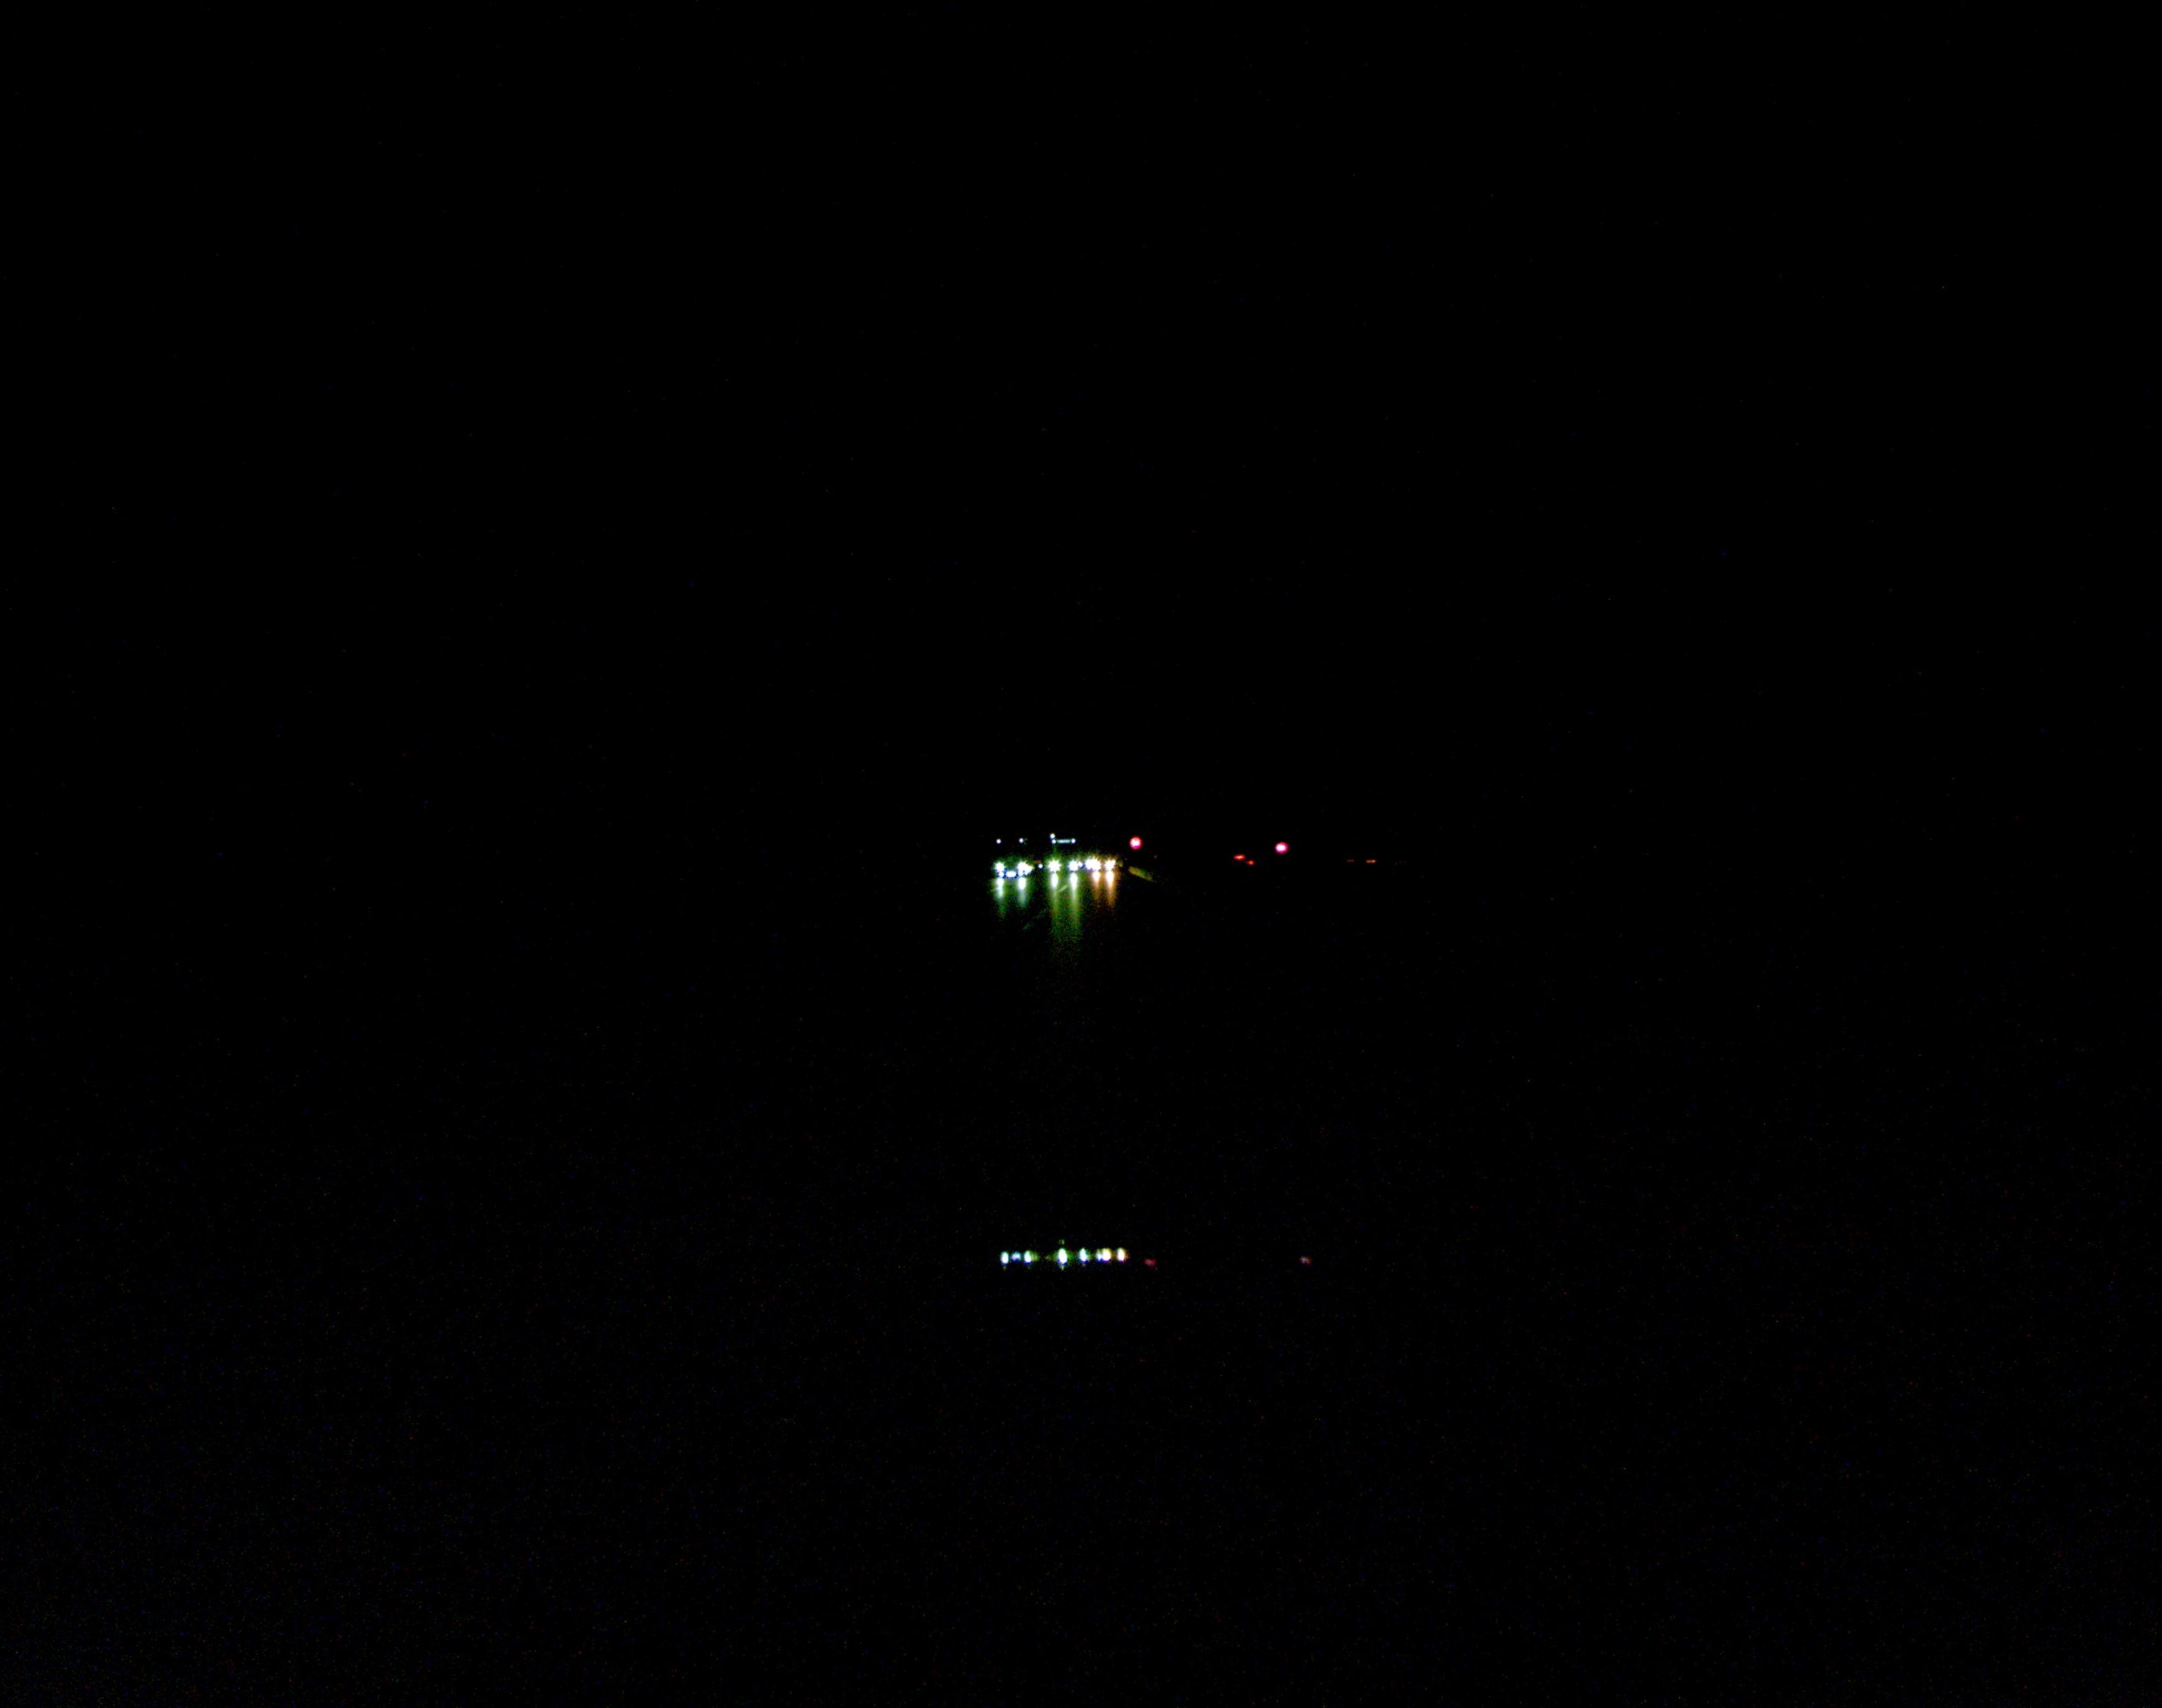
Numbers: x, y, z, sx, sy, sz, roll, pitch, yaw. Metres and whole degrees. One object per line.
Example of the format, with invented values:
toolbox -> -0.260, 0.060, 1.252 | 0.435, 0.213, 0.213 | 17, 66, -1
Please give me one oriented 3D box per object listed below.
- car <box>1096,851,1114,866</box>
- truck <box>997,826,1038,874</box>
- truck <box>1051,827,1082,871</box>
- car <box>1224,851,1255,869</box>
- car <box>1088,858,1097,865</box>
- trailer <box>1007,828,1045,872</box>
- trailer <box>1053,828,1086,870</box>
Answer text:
car -> 2.593, 0.439, 80.968 | 1.825, 1.457, 4.248 | -2, 0, 2
truck -> -5.693, -0.339, 69.122 | 2.597, 4.048, 7.674 | -2, 0, 2
truck -> -1.411, -0.485, 78.283 | 2.668, 4.181, 6.724 | -2, 0, 2
car -> 13.810, 0.536, 66.413 | 1.754, 1.470, 4.752 | 1, 0, 1
car -> 3.136, 1.982, 200.860 | 2.266, 1.841, 5.404 | -2, 0, 2
trailer -> -5.416, -0.316, 76.675 | 2.597, 4.048, 10.010 | -2, 0, 2
trailer -> -1.141, -0.498, 85.281 | 2.749, 4.181, 13.512 | -2, 0, 2
